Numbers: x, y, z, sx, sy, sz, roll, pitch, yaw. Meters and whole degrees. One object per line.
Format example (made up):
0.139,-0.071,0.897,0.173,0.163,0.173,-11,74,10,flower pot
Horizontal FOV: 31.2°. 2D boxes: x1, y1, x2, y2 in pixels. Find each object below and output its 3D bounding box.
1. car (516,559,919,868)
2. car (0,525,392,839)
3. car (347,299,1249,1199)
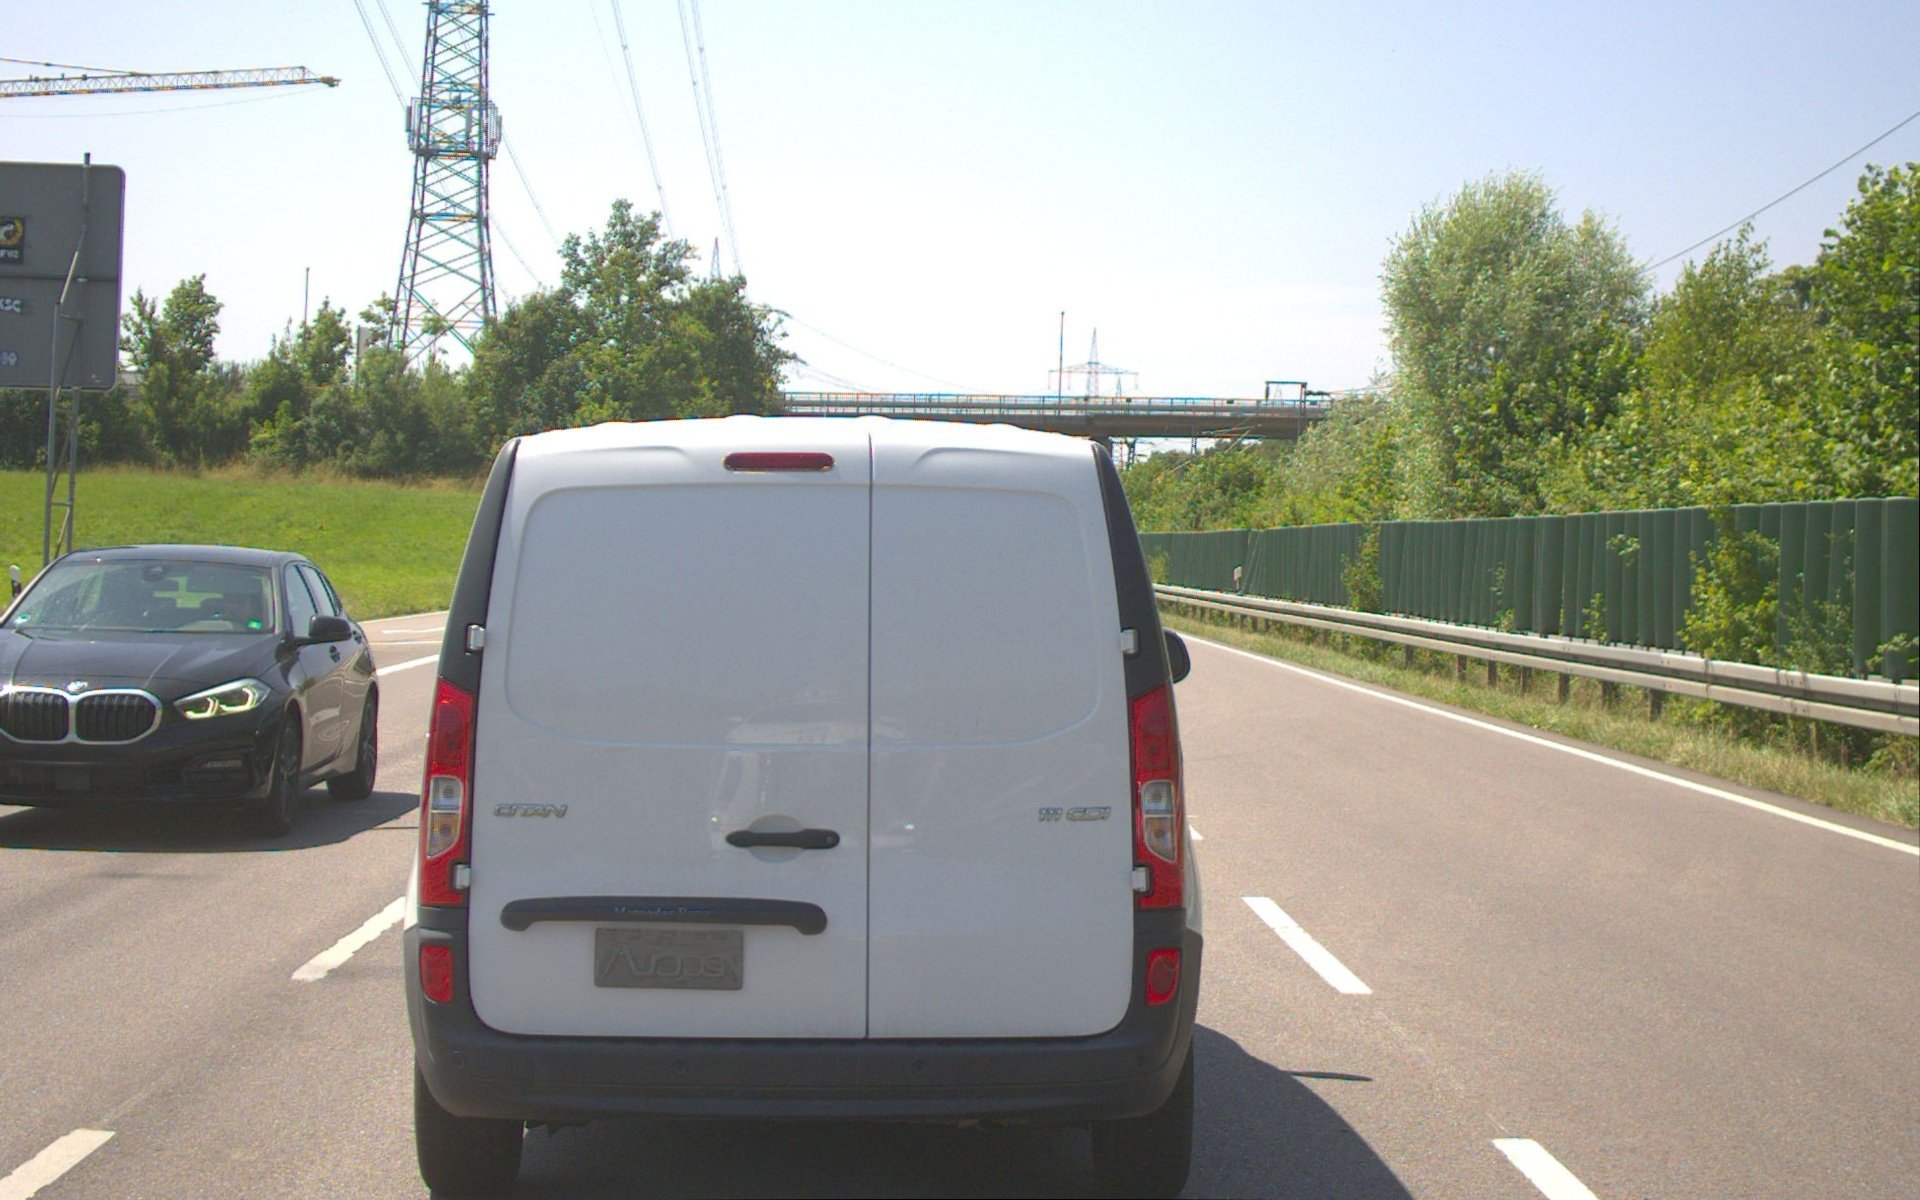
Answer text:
-1.238,0.509,18.531,1.856,1.392,4.654,2,1,-2,car
-4.236,0.355,18.338,1.782,1.459,4.000,1,1,-1,car
-0.374,0.342,9.047,1.827,1.964,4.000,1,1,-1,car
